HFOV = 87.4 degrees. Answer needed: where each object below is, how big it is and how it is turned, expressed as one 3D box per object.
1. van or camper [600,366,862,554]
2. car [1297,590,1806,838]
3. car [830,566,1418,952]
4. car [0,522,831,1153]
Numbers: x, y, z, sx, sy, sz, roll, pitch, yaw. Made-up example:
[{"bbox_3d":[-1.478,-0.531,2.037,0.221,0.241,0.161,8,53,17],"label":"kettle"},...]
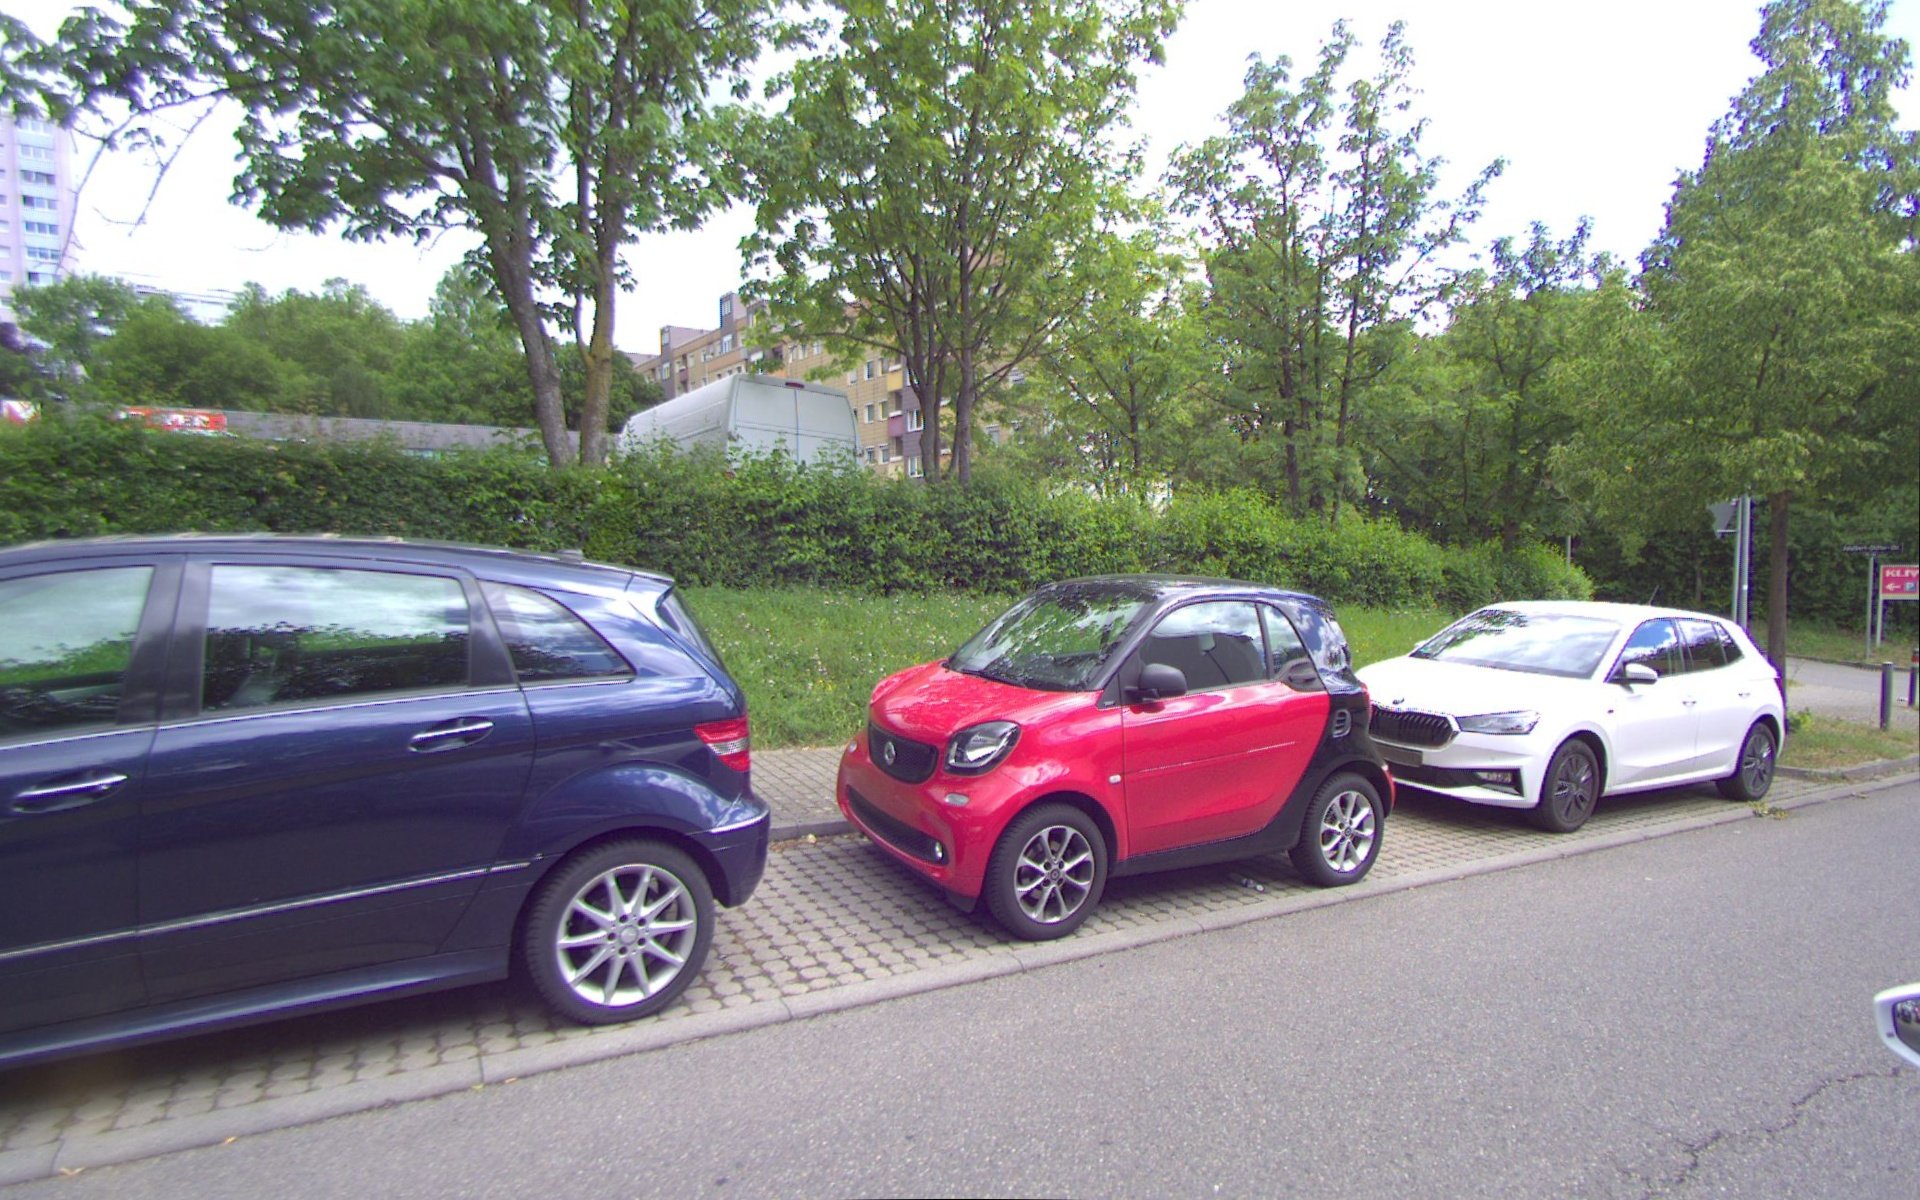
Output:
[{"bbox_3d":[-3.402,-1.725,14.108,1.980,2.114,4.822,-1,3,-34],"label":"van or camper"},{"bbox_3d":[4.646,0.711,7.786,3.923,1.456,1.666,1,2,-30],"label":"car"},{"bbox_3d":[0.855,0.632,5.308,2.680,1.526,1.522,1,2,-29],"label":"car"},{"bbox_3d":[-2.590,0.561,3.495,3.794,1.580,1.874,1,3,-31],"label":"car"}]
